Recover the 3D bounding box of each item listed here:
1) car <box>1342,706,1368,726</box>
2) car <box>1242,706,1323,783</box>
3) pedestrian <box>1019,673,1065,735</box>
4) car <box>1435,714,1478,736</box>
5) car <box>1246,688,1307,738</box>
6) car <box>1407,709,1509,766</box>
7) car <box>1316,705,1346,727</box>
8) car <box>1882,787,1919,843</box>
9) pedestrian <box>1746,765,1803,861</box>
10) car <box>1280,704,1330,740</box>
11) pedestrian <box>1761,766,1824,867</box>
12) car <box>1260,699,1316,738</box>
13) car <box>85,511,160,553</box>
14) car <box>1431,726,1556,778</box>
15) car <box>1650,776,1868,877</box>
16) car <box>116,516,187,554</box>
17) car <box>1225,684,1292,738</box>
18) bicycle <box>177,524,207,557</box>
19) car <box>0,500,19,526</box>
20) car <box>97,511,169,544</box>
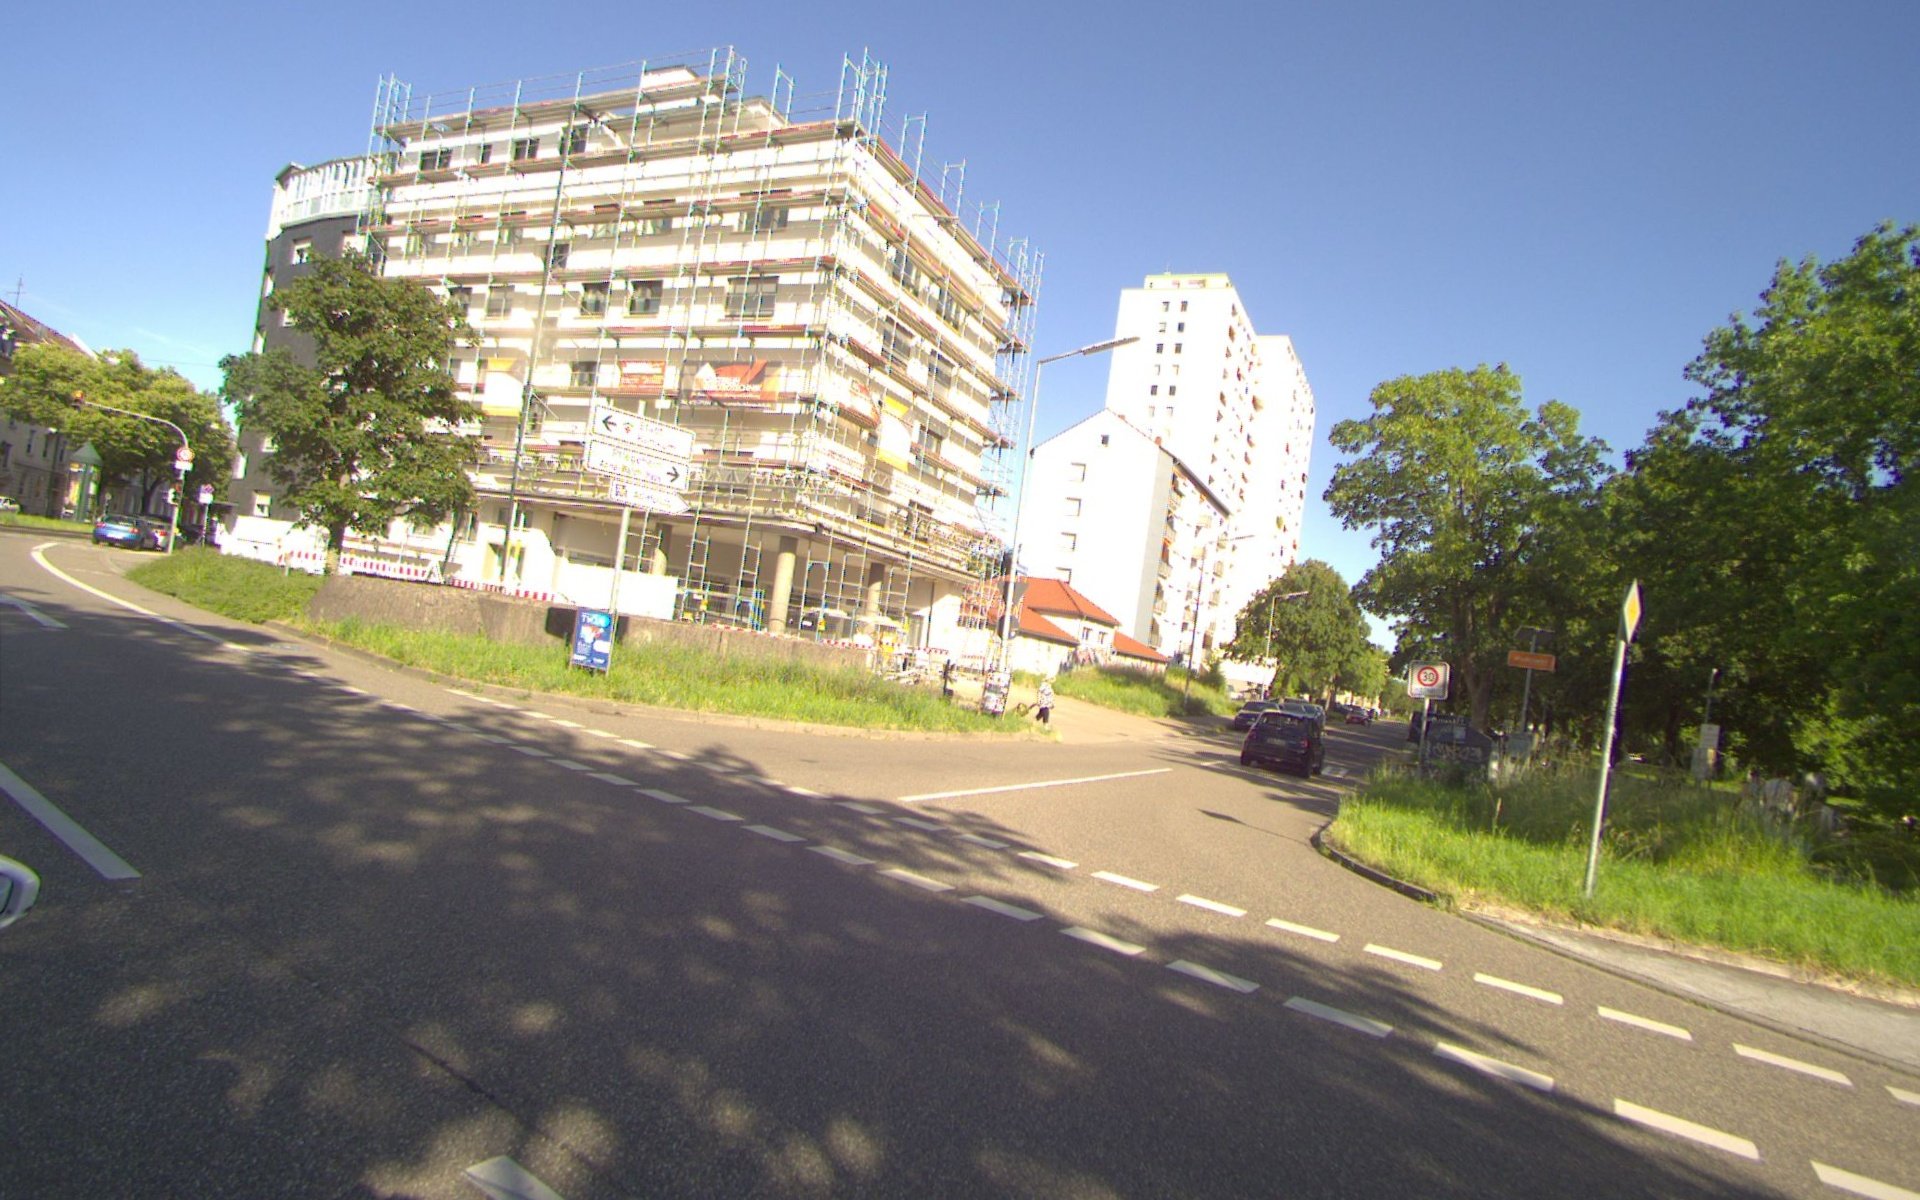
[{"bbox_3d":[41.378,12.161,105.301,1.966,1.679,4.002,6,-5,29],"label":"car"},{"bbox_3d":[8.145,3.583,25.481,1.648,1.519,3.567,8,-3,18],"label":"car"},{"bbox_3d":[2.180,2.767,26.784,0.892,1.514,0.652,8,-2,21],"label":"pedestrian"},{"bbox_3d":[53.691,13.539,108.861,3.930,1.673,2.002,6,-4,27],"label":"car"},{"bbox_3d":[15.752,5.634,49.940,1.966,2.034,4.002,6,-5,29],"label":"car"},{"bbox_3d":[25.298,6.958,51.106,4.280,2.096,1.998,7,-3,32],"label":"car"},{"bbox_3d":[34.848,10.931,94.492,1.966,1.679,4.002,6,-5,29],"label":"car"},{"bbox_3d":[25.018,5.559,25.221,1.594,1.288,3.654,5,-4,24],"label":"car"},{"bbox_3d":[15.092,3.927,18.647,0.557,1.637,0.600,7,-3,24],"label":"pedestrian"},{"bbox_3d":[20.043,7.098,58.312,1.966,1.679,4.002,6,-5,29],"label":"car"},{"bbox_3d":[14.742,3.811,17.827,0.557,1.636,0.706,7,-3,24],"label":"pedestrian"},{"bbox_3d":[17.590,6.388,53.847,1.966,1.679,4.002,6,-5,29],"label":"car"},{"bbox_3d":[-38.247,-3.070,46.039,1.762,1.458,3.594,10,-3,-28],"label":"car"},{"bbox_3d":[20.733,5.907,39.119,3.940,1.311,1.997,5,-5,37],"label":"car"},{"bbox_3d":[19.771,5.558,25.148,3.935,1.624,1.999,6,-4,33],"label":"car"},{"bbox_3d":[-40.436,-3.211,50.432,1.805,1.525,3.974,9,-2,-27],"label":"car"},{"bbox_3d":[13.510,5.031,45.384,1.965,2.035,4.001,7,-3,27],"label":"car"},{"bbox_3d":[-40.095,-3.085,52.551,0.568,1.528,2.790,9,-2,-27],"label":"bicycle"},{"bbox_3d":[-61.108,-5.660,63.147,1.775,1.499,3.511,10,-3,-25],"label":"car"},{"bbox_3d":[-58.557,-5.097,71.229,3.924,1.611,1.913,8,-2,16],"label":"car"}]
